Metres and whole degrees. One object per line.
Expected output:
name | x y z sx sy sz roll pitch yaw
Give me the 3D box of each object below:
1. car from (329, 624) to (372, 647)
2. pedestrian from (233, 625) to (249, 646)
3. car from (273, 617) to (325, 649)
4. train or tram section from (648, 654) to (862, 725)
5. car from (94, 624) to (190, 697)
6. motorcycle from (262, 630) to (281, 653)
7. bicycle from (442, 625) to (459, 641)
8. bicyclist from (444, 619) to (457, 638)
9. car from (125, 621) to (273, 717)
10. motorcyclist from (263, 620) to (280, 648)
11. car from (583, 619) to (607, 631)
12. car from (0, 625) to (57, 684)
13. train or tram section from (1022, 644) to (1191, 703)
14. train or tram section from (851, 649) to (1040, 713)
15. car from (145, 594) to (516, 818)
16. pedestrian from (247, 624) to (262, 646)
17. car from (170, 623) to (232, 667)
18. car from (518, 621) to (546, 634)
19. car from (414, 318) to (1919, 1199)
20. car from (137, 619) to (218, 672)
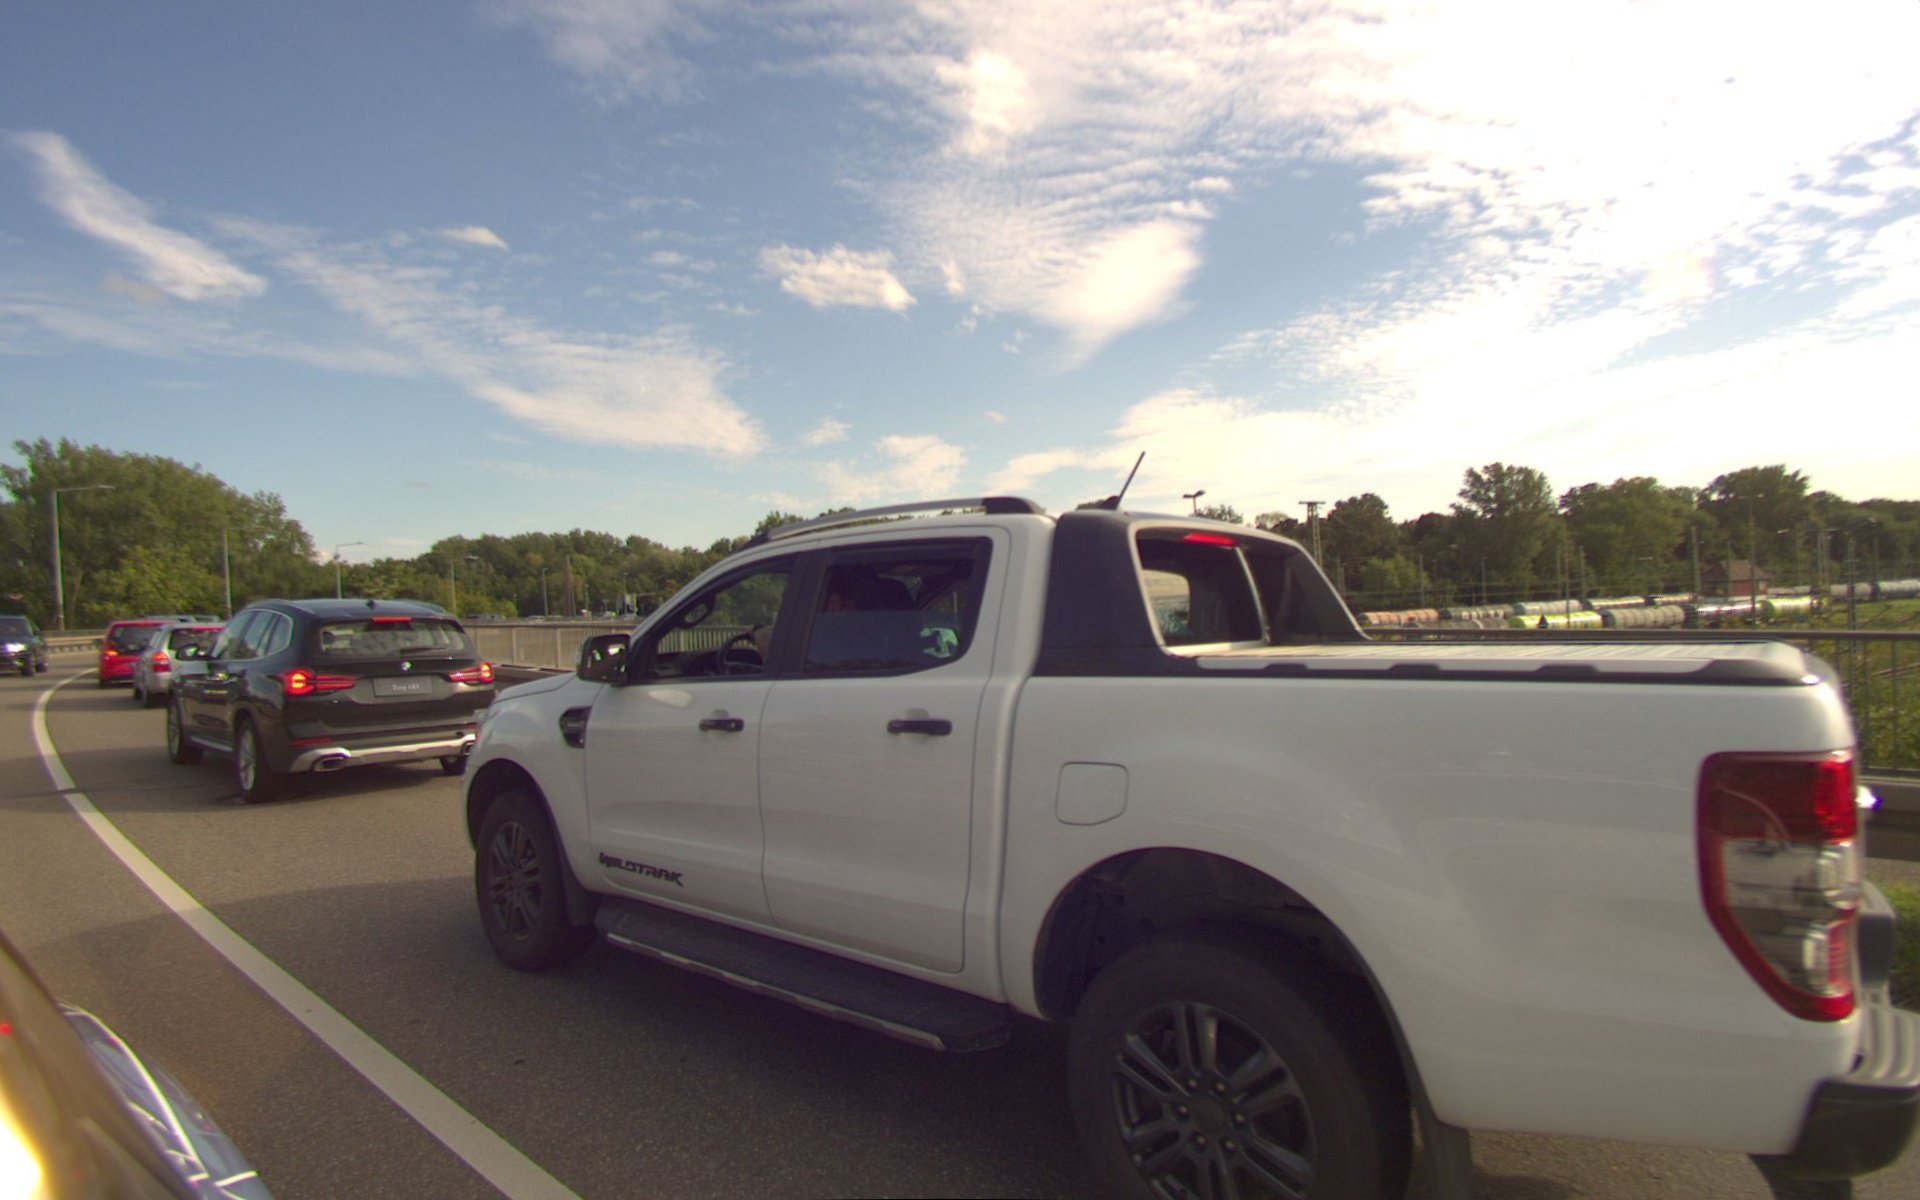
car | -46.179 2.676 76.775 1.728 1.622 4.326 0 -1 -16
pedestrian | -54.513 2.686 76.733 0.667 1.555 0.963 0 -1 -16
car | -42.240 2.090 64.753 1.979 1.918 4.883 0 -1 -23
train or tram section | -16.147 6.978 80.757 16.458 4.748 3.107 0 -1 -24
car | -18.538 1.302 22.891 1.579 1.475 3.742 0 -1 -41
motorcycle | -38.838 2.353 57.100 0.611 1.262 1.798 0 -1 -25
bicycle | -44.249 2.883 87.930 0.754 1.342 1.920 -1 -1 -9
bicyclist | -44.267 2.453 87.951 0.756 1.673 1.122 -1 -1 -10
car | -13.528 1.134 17.892 1.711 1.466 4.270 0 -2 -42
motorcyclist | -38.816 1.921 57.033 0.611 1.565 0.940 0 -1 -23
car | -49.910 3.406 138.429 1.722 1.512 4.075 -1 -1 1
car | -26.267 1.459 27.682 1.790 1.518 4.402 0 -1 -35
train or tram section | 13.842 6.734 94.321 16.458 4.748 3.107 0 -1 -24
train or tram section | -1.078 6.855 87.544 16.458 4.748 3.107 0 -1 -24
car | -6.243 0.837 9.787 4.641 1.662 1.869 -2 -1 42
pedestrian | -54.376 2.697 78.024 0.667 1.674 0.868 0 -1 -16
car | -30.560 1.772 40.817 1.658 1.662 4.310 0 -1 -32
car | -51.764 3.276 122.553 1.721 1.512 4.077 -1 -1 -1
car | 0.210 0.561 3.559 5.399 1.824 1.882 -1 -1 40
car | -26.438 1.500 34.313 1.899 1.662 4.600 0 -1 -34
